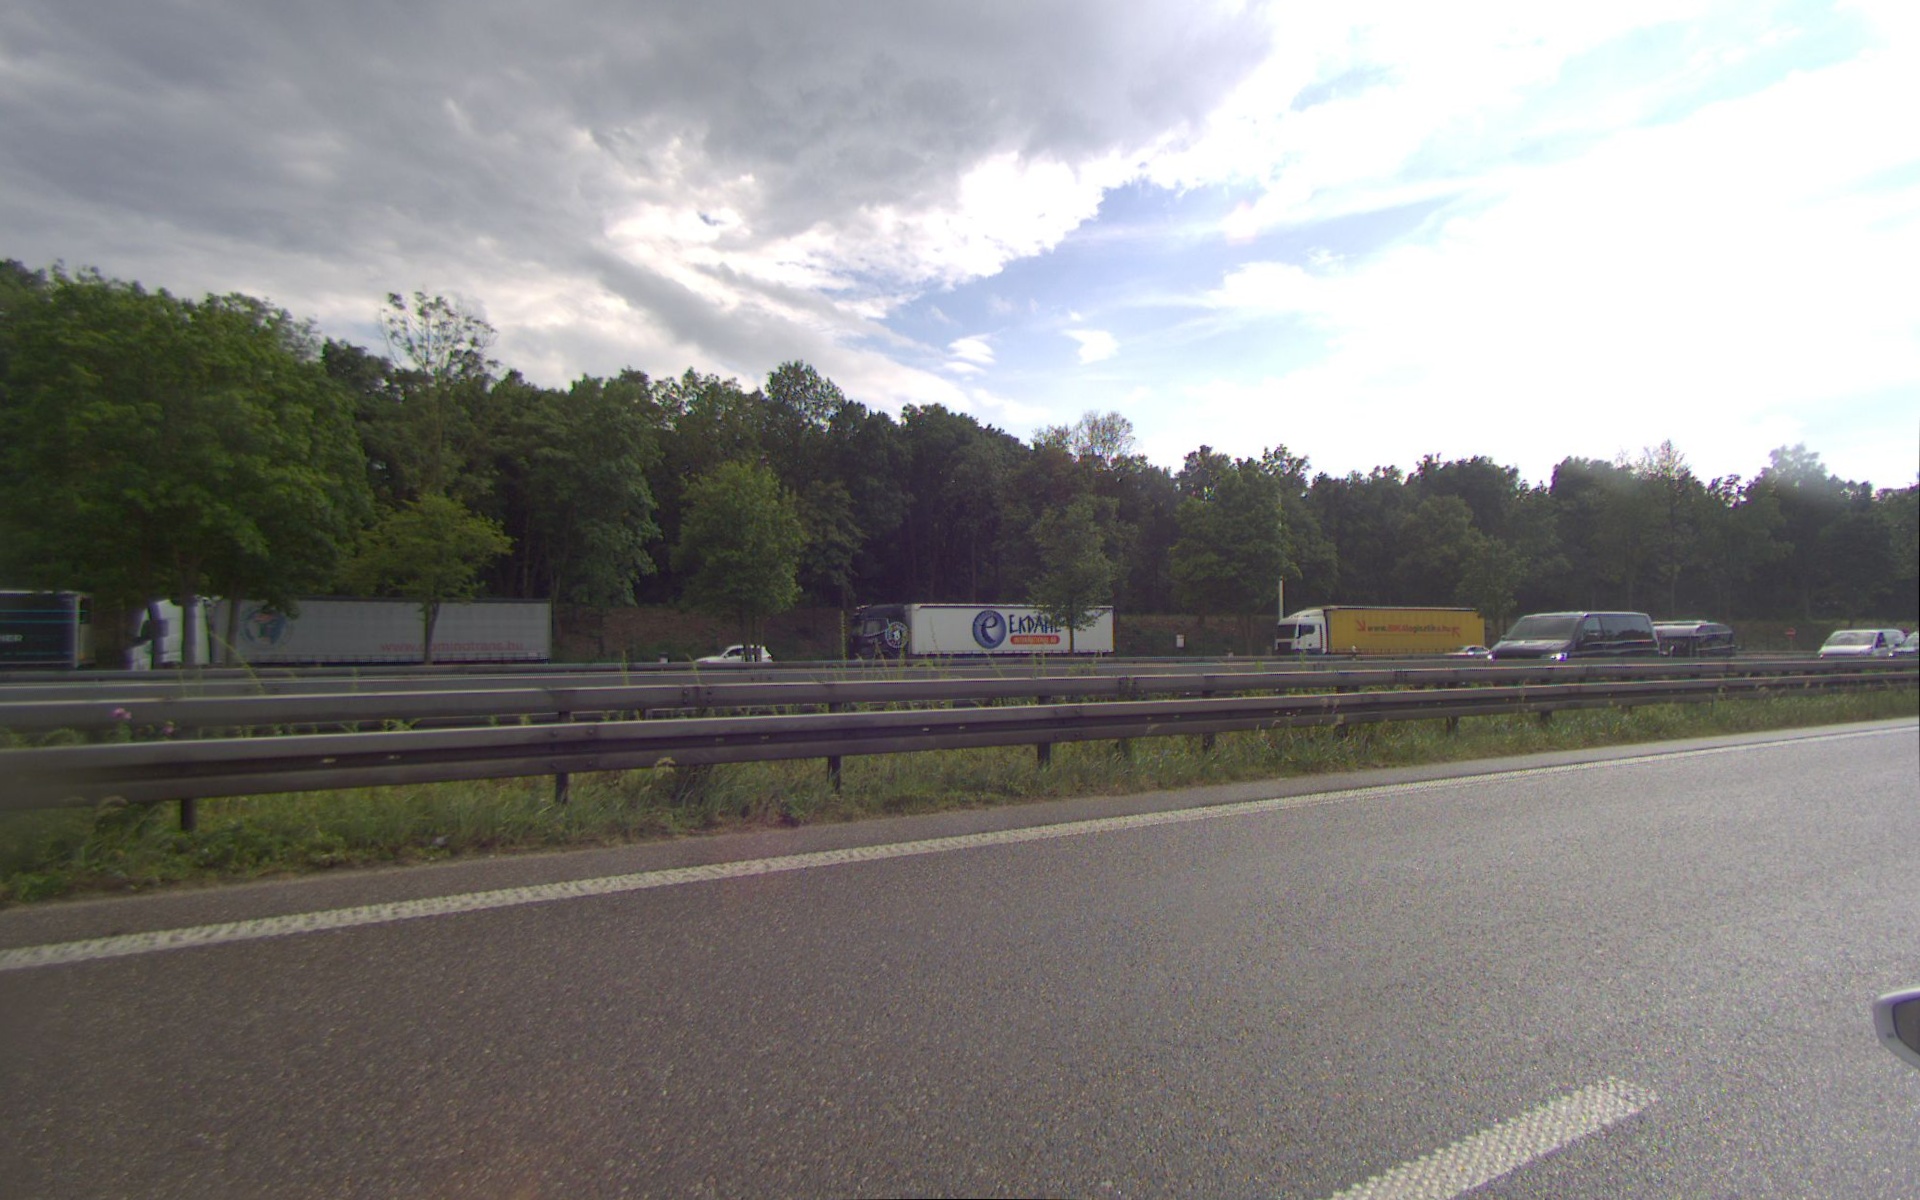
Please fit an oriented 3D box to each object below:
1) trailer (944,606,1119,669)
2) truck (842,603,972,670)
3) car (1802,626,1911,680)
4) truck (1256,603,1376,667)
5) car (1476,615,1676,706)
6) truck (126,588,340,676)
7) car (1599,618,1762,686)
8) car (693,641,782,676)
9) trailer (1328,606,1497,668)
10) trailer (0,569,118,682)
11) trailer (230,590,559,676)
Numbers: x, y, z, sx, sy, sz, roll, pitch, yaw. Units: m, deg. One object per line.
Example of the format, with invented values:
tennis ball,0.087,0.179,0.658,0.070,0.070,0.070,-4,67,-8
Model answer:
trailer,4.494,2.333,62.522,10.350,3.697,3.780,1,-1,-24
truck,-3.128,2.138,59.008,6.615,3.709,3.776,2,0,-25
car,37.535,2.184,42.040,4.599,2.073,2.163,2,0,-31
truck,24.824,2.426,70.156,6.933,4.171,3.786,2,0,-17
car,14.581,1.382,23.694,5.001,1.916,1.943,2,0,-31
truck,-31.997,1.402,44.727,7.269,3.637,3.769,2,0,-30
car,24.562,1.751,34.160,6.427,2.073,2.162,2,0,-32
car,-12.154,3.191,54.844,4.313,1.741,2.050,2,0,-28
trailer,32.738,2.672,72.641,11.538,4.171,3.786,2,0,-17
trailer,-42.286,0.977,39.349,13.638,4.464,3.771,1,-2,-30
trailer,-26.453,1.567,47.968,13.188,3.697,3.771,1,-2,-30
